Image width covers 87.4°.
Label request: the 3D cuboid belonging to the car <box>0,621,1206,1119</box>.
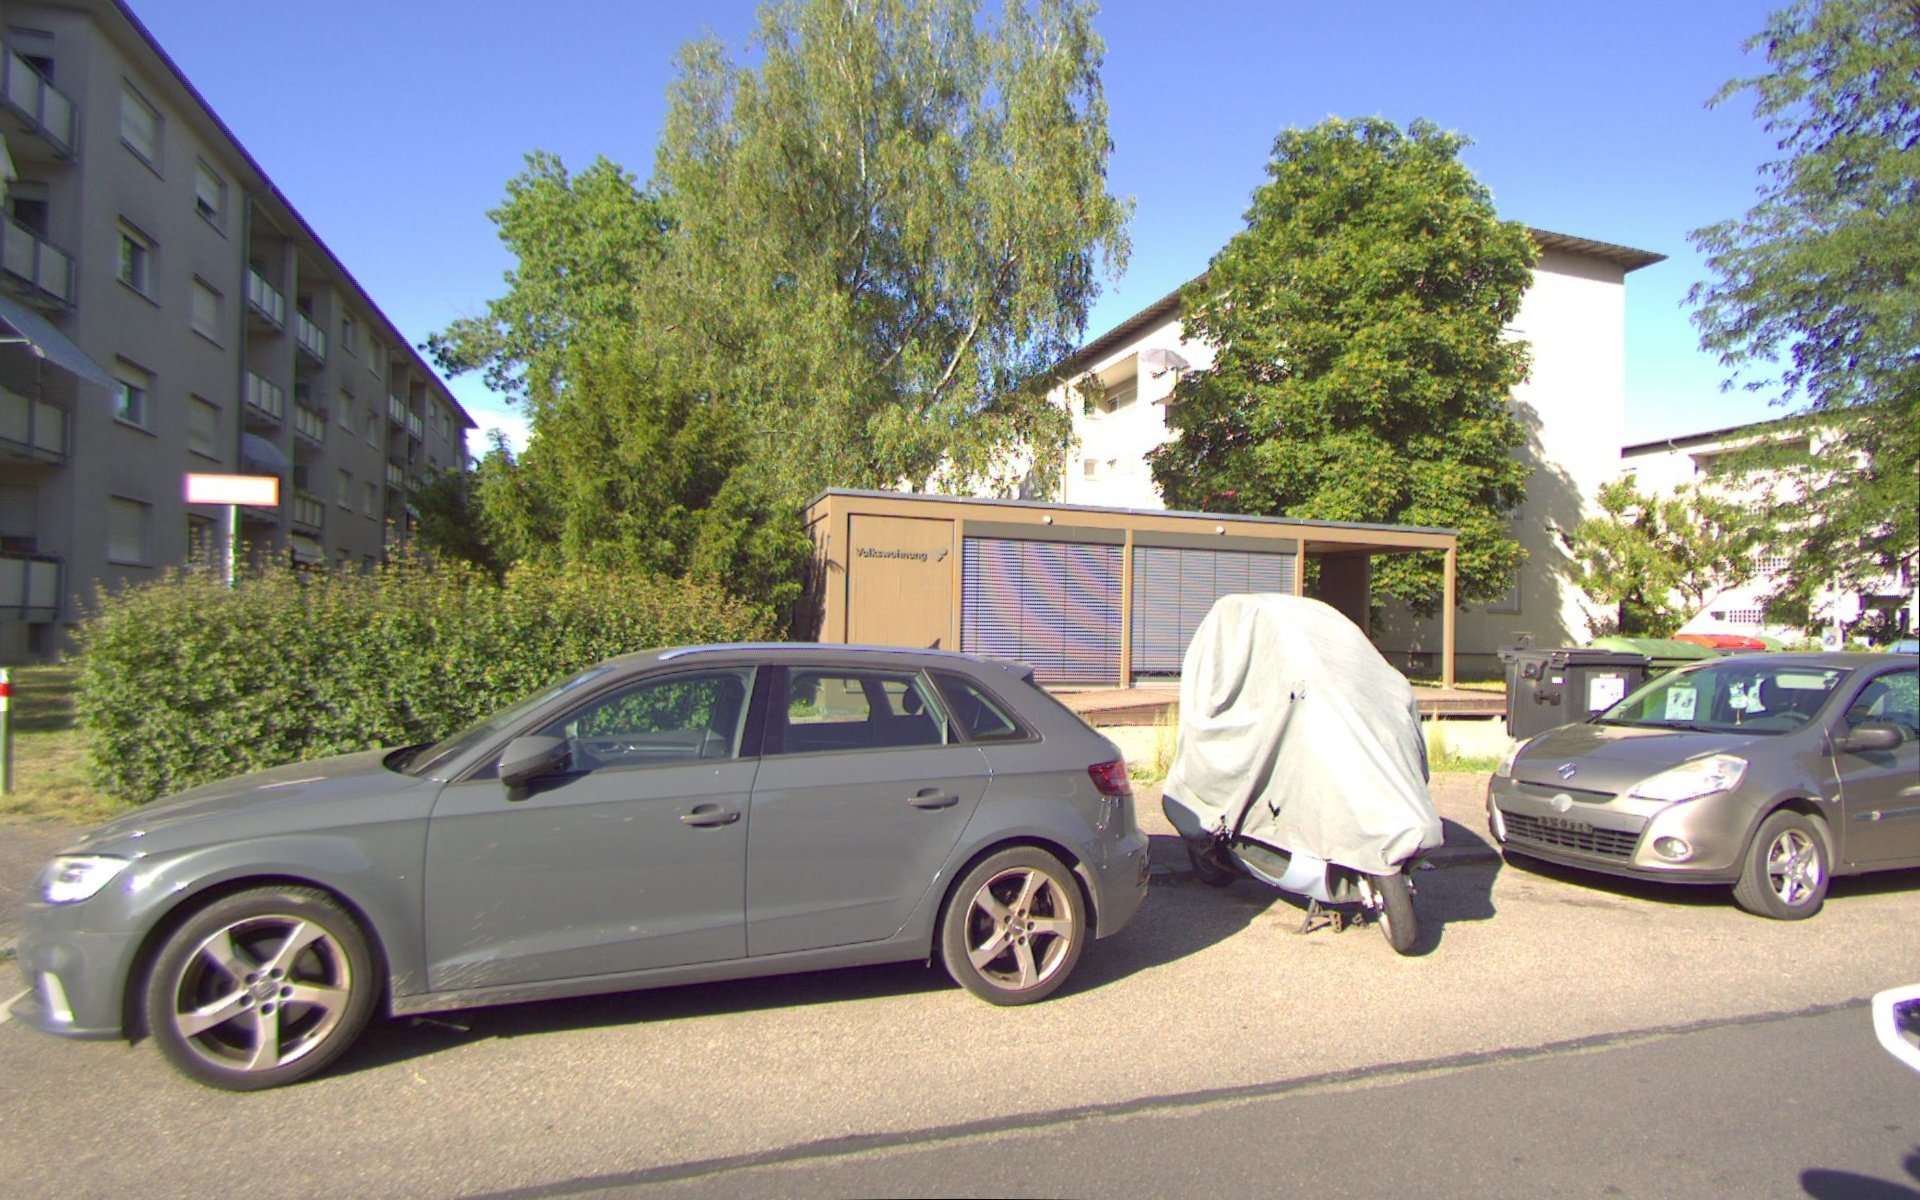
[{"bbox_3d":[-1.228,0.884,4.379,4.202,1.439,1.753,2,-3,-18],"label":"car"}]

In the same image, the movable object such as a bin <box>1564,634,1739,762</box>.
[{"bbox_3d":[8.353,1.150,12.182,1.322,1.426,1.177,1,-1,-17],"label":"movable object such as a bin"}]

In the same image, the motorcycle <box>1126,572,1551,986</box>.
[{"bbox_3d":[1.877,0.836,5.503,0.918,1.749,2.253,2,-4,-20],"label":"motorcycle"}]

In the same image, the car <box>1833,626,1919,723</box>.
[{"bbox_3d":[18.402,1.376,18.667,3.939,1.663,1.568,2,0,-20],"label":"car"}]

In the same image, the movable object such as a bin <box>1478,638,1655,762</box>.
[{"bbox_3d":[7.023,1.126,11.679,1.322,1.305,1.177,1,-1,-17],"label":"movable object such as a bin"}]

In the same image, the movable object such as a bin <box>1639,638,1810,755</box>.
[{"bbox_3d":[9.679,1.193,12.761,1.321,1.358,1.177,1,-1,-17],"label":"movable object such as a bin"}]

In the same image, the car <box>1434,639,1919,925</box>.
[{"bbox_3d":[5.413,1.055,6.708,3.895,1.500,1.754,2,-3,-17],"label":"car"}]
